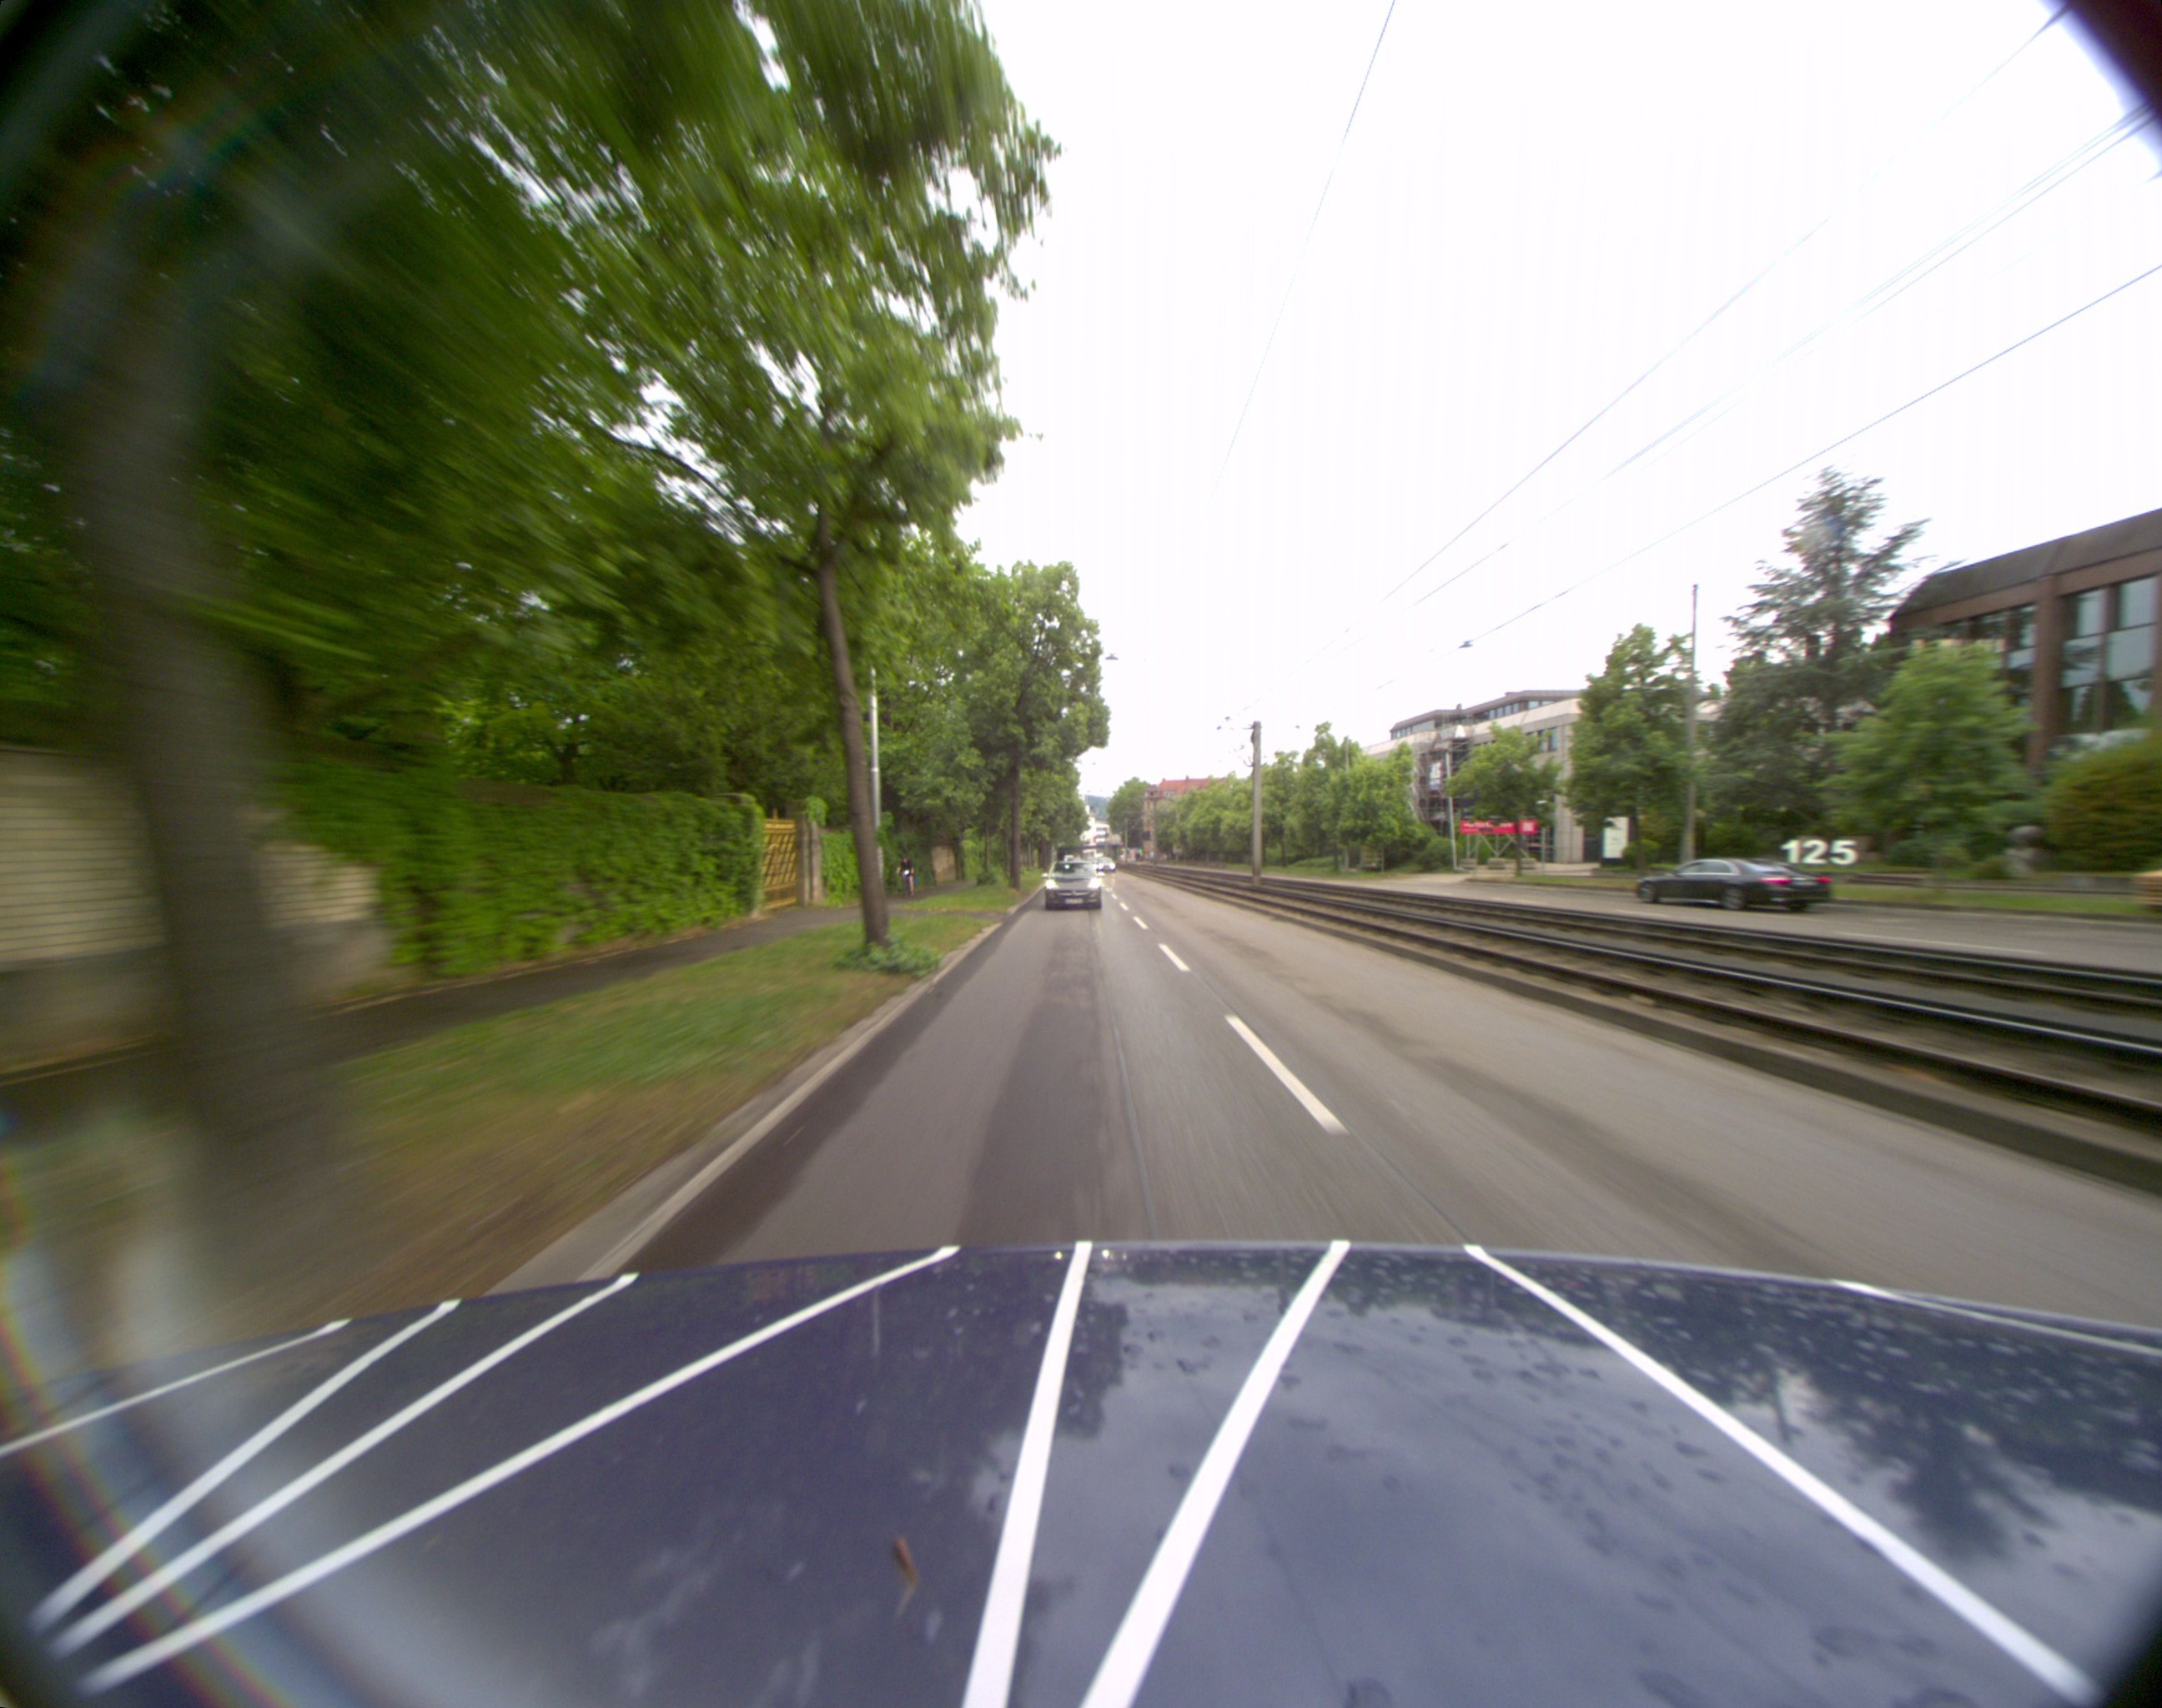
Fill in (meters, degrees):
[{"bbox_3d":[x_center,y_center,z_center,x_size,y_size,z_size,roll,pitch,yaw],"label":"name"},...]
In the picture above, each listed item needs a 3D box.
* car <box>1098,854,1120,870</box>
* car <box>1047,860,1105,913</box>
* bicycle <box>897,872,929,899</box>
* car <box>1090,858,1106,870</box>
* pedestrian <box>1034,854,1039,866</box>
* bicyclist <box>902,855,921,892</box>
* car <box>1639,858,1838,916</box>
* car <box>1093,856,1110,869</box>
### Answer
[{"bbox_3d":[2.662,0.765,72.647,1.807,1.483,4.102,-1,0,-1],"label":"car"},{"bbox_3d":[-0.183,0.952,23.741,1.658,1.483,3.829,0,0,-1],"label":"car"},{"bbox_3d":[-6.489,1.213,29.471,0.544,0.942,2.550,0,0,3],"label":"bicycle"},{"bbox_3d":[2.763,1.589,125.084,2.000,1.801,3.997,-2,0,-7],"label":"car"},{"bbox_3d":[-6.910,0.968,118.645,0.710,1.769,0.900,-1,0,-3],"label":"pedestrian"},{"bbox_3d":[-6.503,0.732,29.093,0.536,1.381,0.666,0,1,3],"label":"bicyclist"},{"bbox_3d":[19.130,0.882,22.439,1.799,1.521,4.621,-1,0,-1],"label":"car"},{"bbox_3d":[2.396,1.014,88.048,1.807,1.483,4.102,0,0,-1],"label":"car"}]
